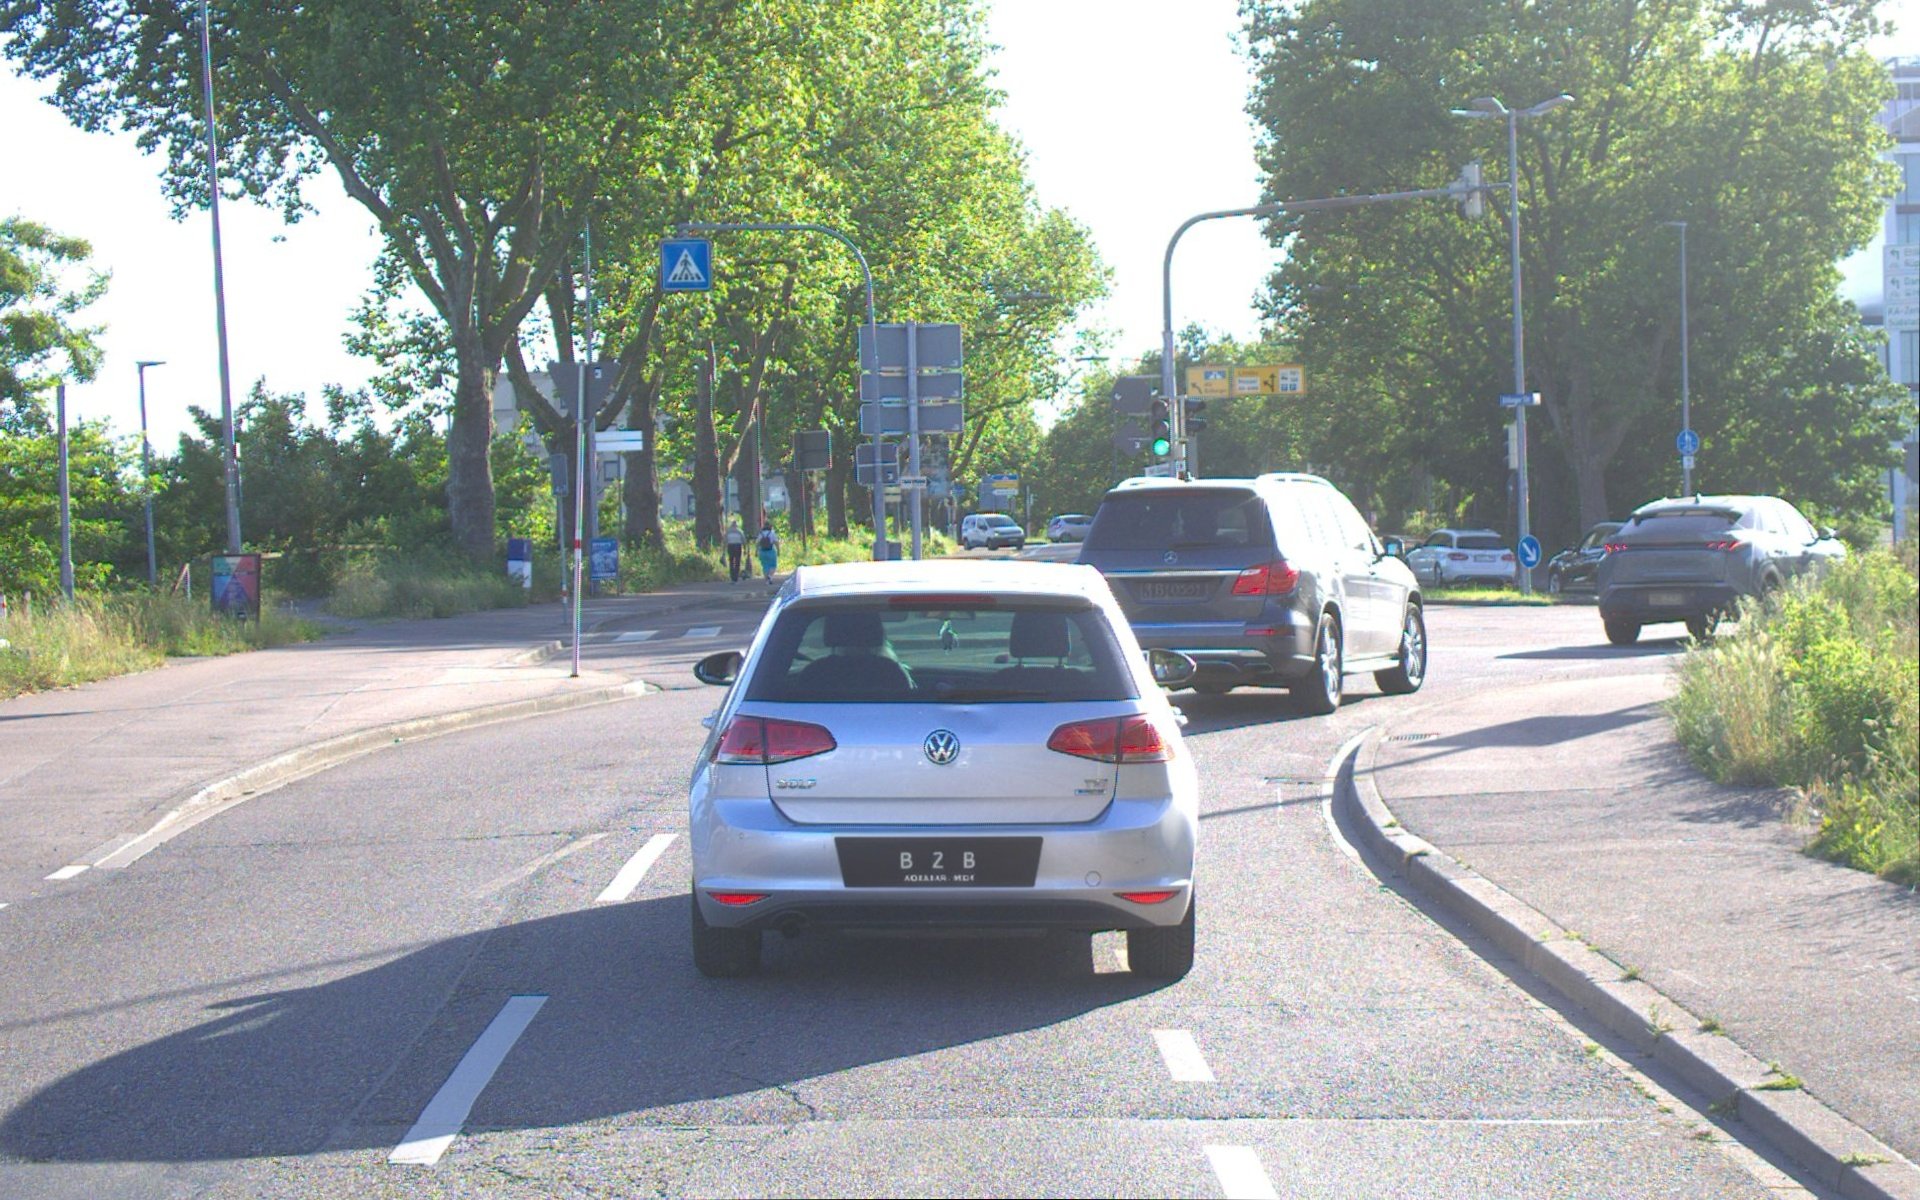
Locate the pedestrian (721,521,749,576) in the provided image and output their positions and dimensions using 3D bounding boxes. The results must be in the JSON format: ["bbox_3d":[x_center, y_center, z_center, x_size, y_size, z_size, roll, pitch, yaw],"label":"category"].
[{"bbox_3d":[-5.815,-1.343,88.889,0.678,1.410,0.684,0,1,0],"label":"pedestrian"}]

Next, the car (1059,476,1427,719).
[{"bbox_3d":[2.360,-0.058,27.451,1.821,1.763,4.625,0,1,19],"label":"car"}]

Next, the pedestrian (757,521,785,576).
[{"bbox_3d":[-4.873,-1.329,88.747,0.678,1.410,0.684,0,1,0],"label":"pedestrian"}]

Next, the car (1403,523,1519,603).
[{"bbox_3d":[12.019,-0.867,82.730,1.993,1.853,4.000,0,0,-3],"label":"car"}]

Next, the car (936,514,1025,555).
[{"bbox_3d":[1.034,-3.301,172.446,3.994,2.007,1.996,0,1,34],"label":"car"}]

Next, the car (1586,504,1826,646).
[{"bbox_3d":[8.609,-0.311,39.398,1.916,1.524,4.402,0,1,23],"label":"car"}]

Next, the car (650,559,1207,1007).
[{"bbox_3d":[0.029,0.570,13.085,1.790,1.415,4.000,0,1,4],"label":"car"}]
